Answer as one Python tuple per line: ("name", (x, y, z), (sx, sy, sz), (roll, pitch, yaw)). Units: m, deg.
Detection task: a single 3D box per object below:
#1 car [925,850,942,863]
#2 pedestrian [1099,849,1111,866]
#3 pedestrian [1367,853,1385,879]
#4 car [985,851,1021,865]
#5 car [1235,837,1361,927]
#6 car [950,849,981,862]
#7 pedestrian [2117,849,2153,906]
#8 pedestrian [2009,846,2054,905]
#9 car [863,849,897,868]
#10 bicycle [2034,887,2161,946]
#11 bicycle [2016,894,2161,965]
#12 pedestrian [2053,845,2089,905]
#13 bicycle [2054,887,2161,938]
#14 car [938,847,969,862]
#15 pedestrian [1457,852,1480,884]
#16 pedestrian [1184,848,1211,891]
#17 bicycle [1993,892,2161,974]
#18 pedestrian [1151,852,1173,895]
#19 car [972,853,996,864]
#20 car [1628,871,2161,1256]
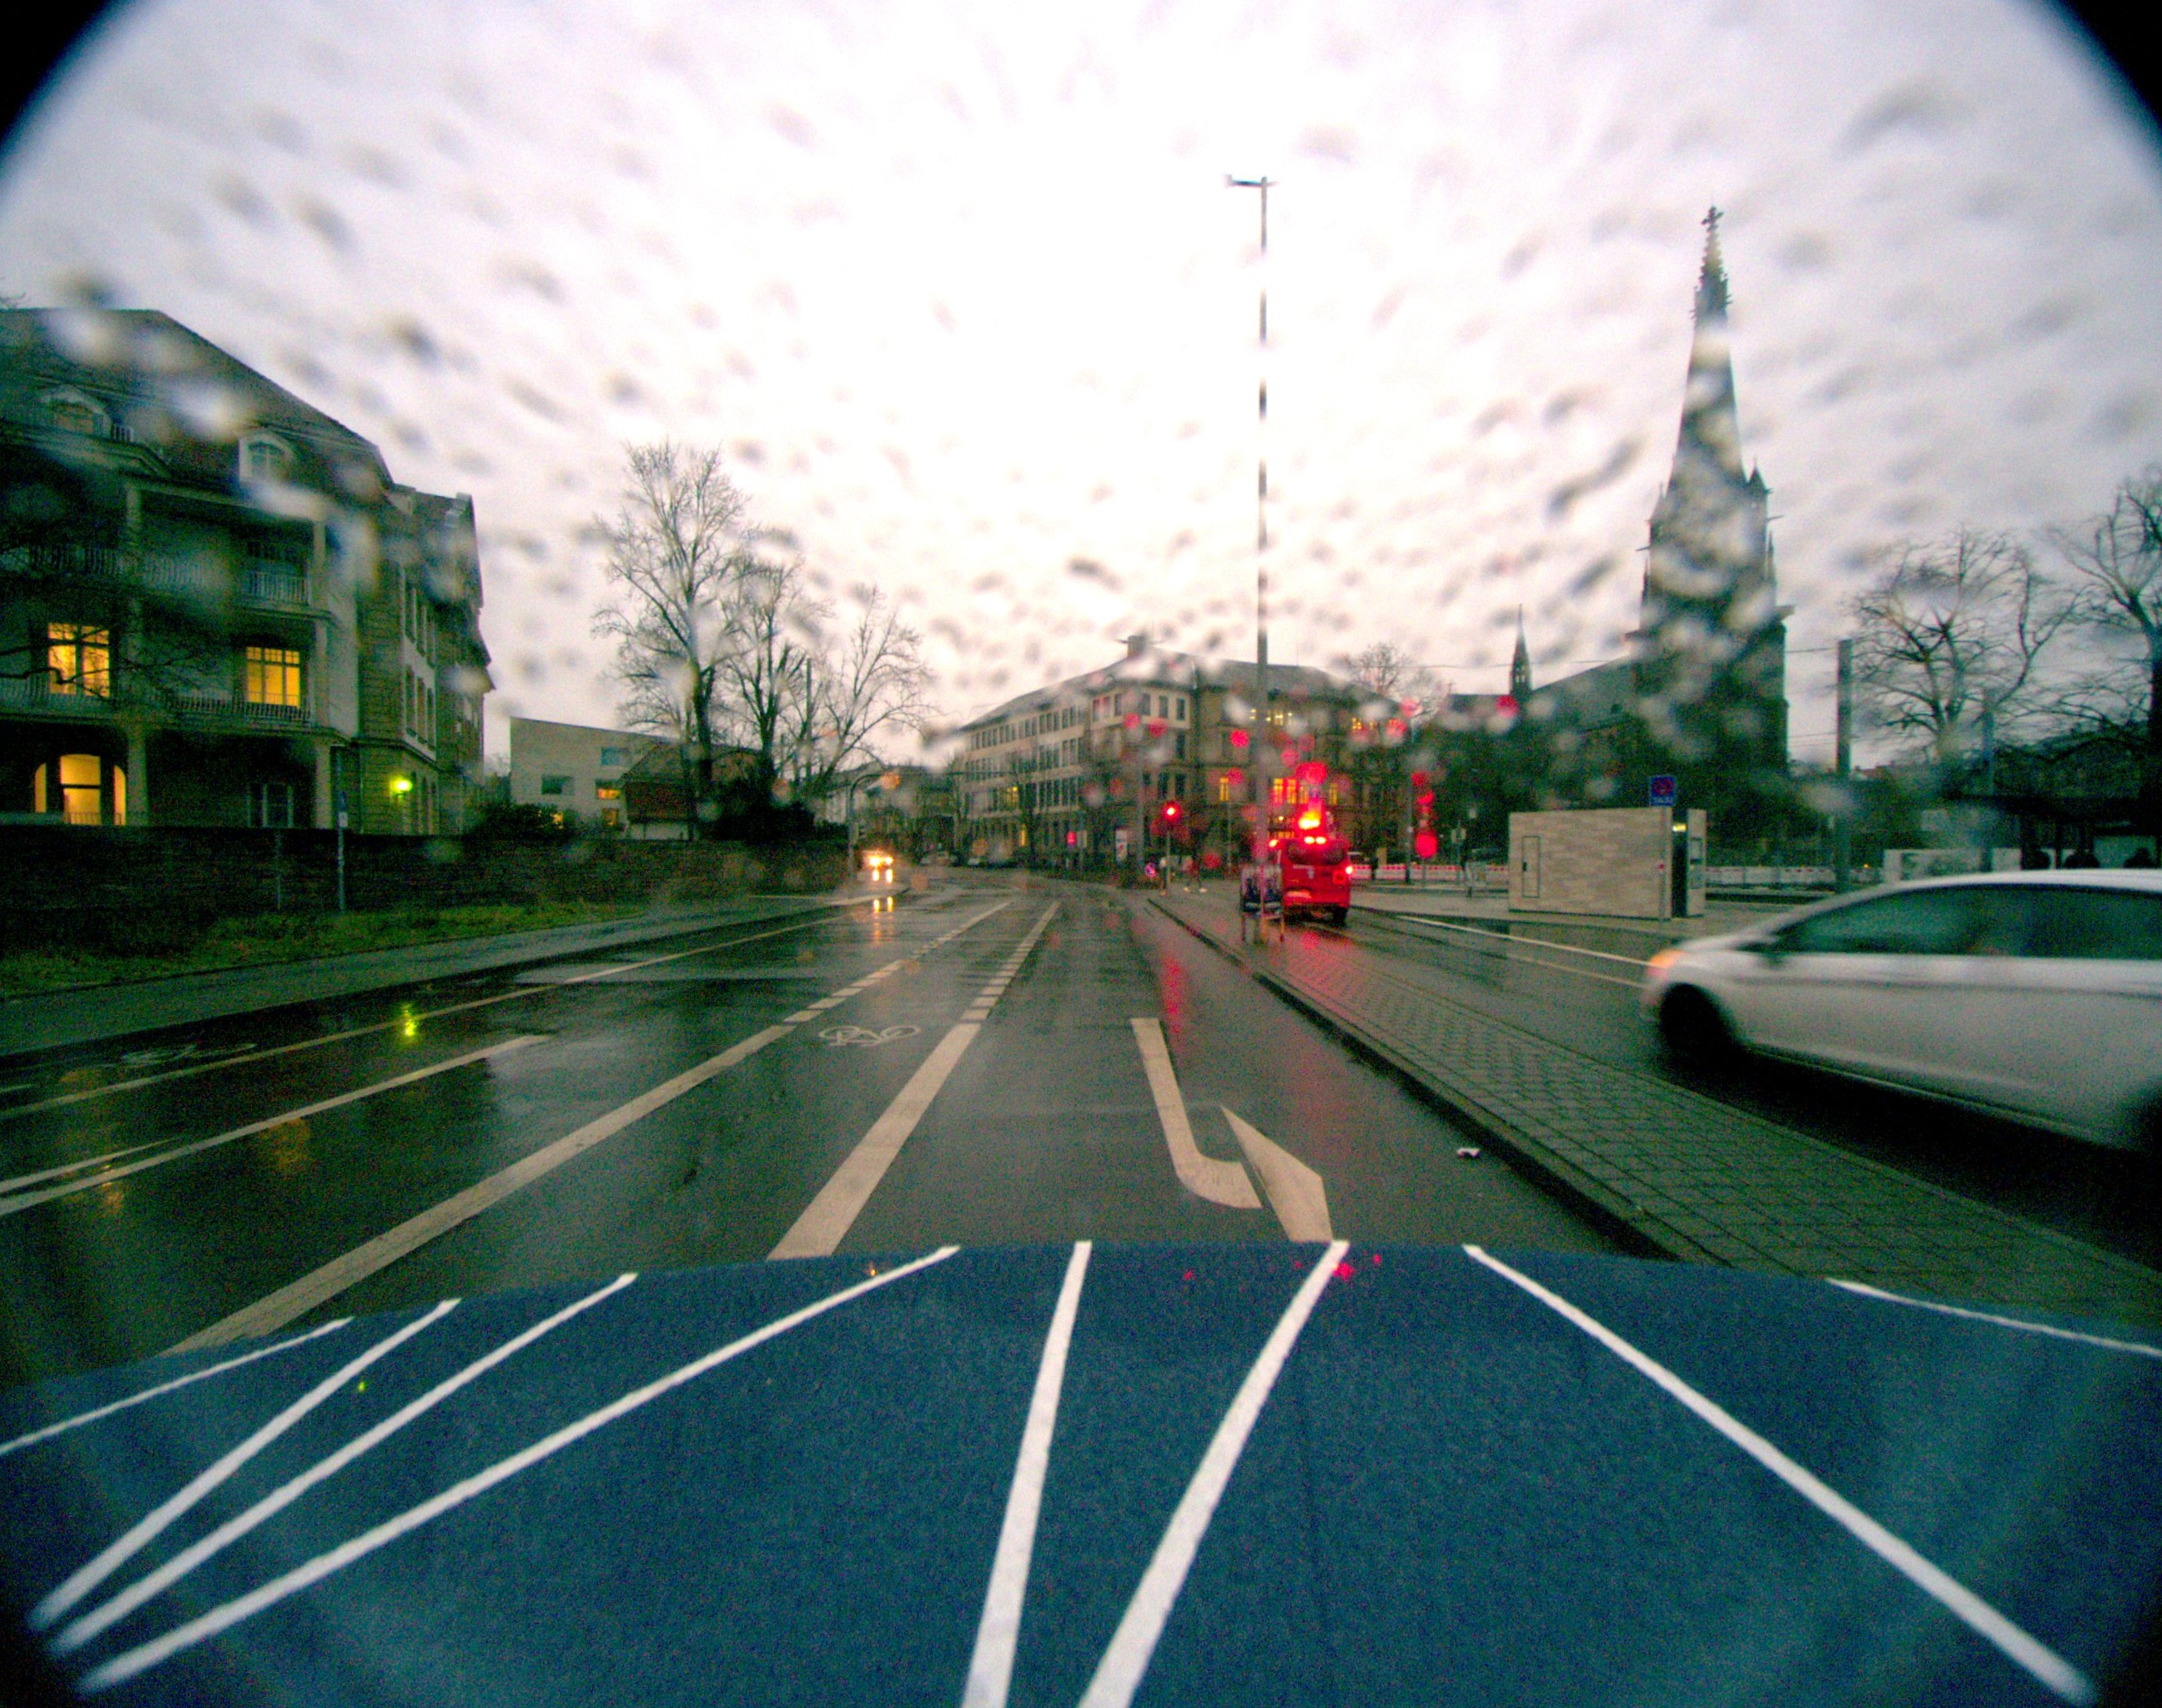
("car", (-20.735, 0.375, 106.842), (2.000, 1.660, 3.997), (-2, 1, -7))
("pedestrian", (2.515, 0.343, 79.487), (0.829, 1.714, 0.926), (0, 0, -37))
("pedestrian", (20.507, 0.838, 52.800), (0.675, 1.806, 0.896), (0, 1, -31))
("car", (-9.280, 0.484, 90.531), (1.797, 1.541, 4.007), (-1, 1, 45))
("car", (5.505, 0.655, 19.922), (1.929, 2.058, 4.643), (1, 0, 0))
("car", (-15.091, 0.203, 99.402), (1.797, 1.541, 4.007), (-2, 1, 28))
("pedestrian", (31.042, 0.691, 22.378), (0.541, 1.642, 0.562), (-3, 2, -41))
("pedestrian", (29.508, 0.665, 23.599), (0.668, 1.785, 0.828), (-1, 1, 36))
("car", (-22.360, 0.485, 84.455), (2.003, 2.002, 4.878), (-3, 1, -35))
("bicycle", (19.685, 1.168, 14.420), (0.475, 0.980, 1.921), (-2, 2, -30))
("bicycle", (16.609, 1.202, 12.208), (0.475, 0.980, 1.921), (-2, 2, -30))
("pedestrian", (30.229, 0.642, 23.206), (0.673, 1.785, 0.626), (-3, 2, -41))
("bicycle", (20.840, 1.160, 15.009), (0.475, 0.905, 1.921), (-2, 2, -30))
("car", (-16.995, 0.079, 101.467), (2.043, 1.889, 4.007), (-2, 1, 28))
("pedestrian", (23.702, 0.860, 46.484), (0.675, 1.890, 0.971), (0, 1, -35))
("pedestrian", (5.225, 0.693, 34.064), (1.000, 1.890, 0.673), (1, 1, -11))
("bicycle", (15.491, 1.180, 11.604), (0.475, 1.064, 1.921), (-2, 2, -30))
("pedestrian", (3.295, 0.770, 30.901), (0.798, 1.713, 0.674), (1, 1, 0))
("car", (-12.134, 0.578, 95.303), (1.706, 1.298, 3.647), (-2, 1, 16))
("car", (5.166, 0.908, 3.980), (1.744, 1.440, 3.712), (2, 1, -3))
